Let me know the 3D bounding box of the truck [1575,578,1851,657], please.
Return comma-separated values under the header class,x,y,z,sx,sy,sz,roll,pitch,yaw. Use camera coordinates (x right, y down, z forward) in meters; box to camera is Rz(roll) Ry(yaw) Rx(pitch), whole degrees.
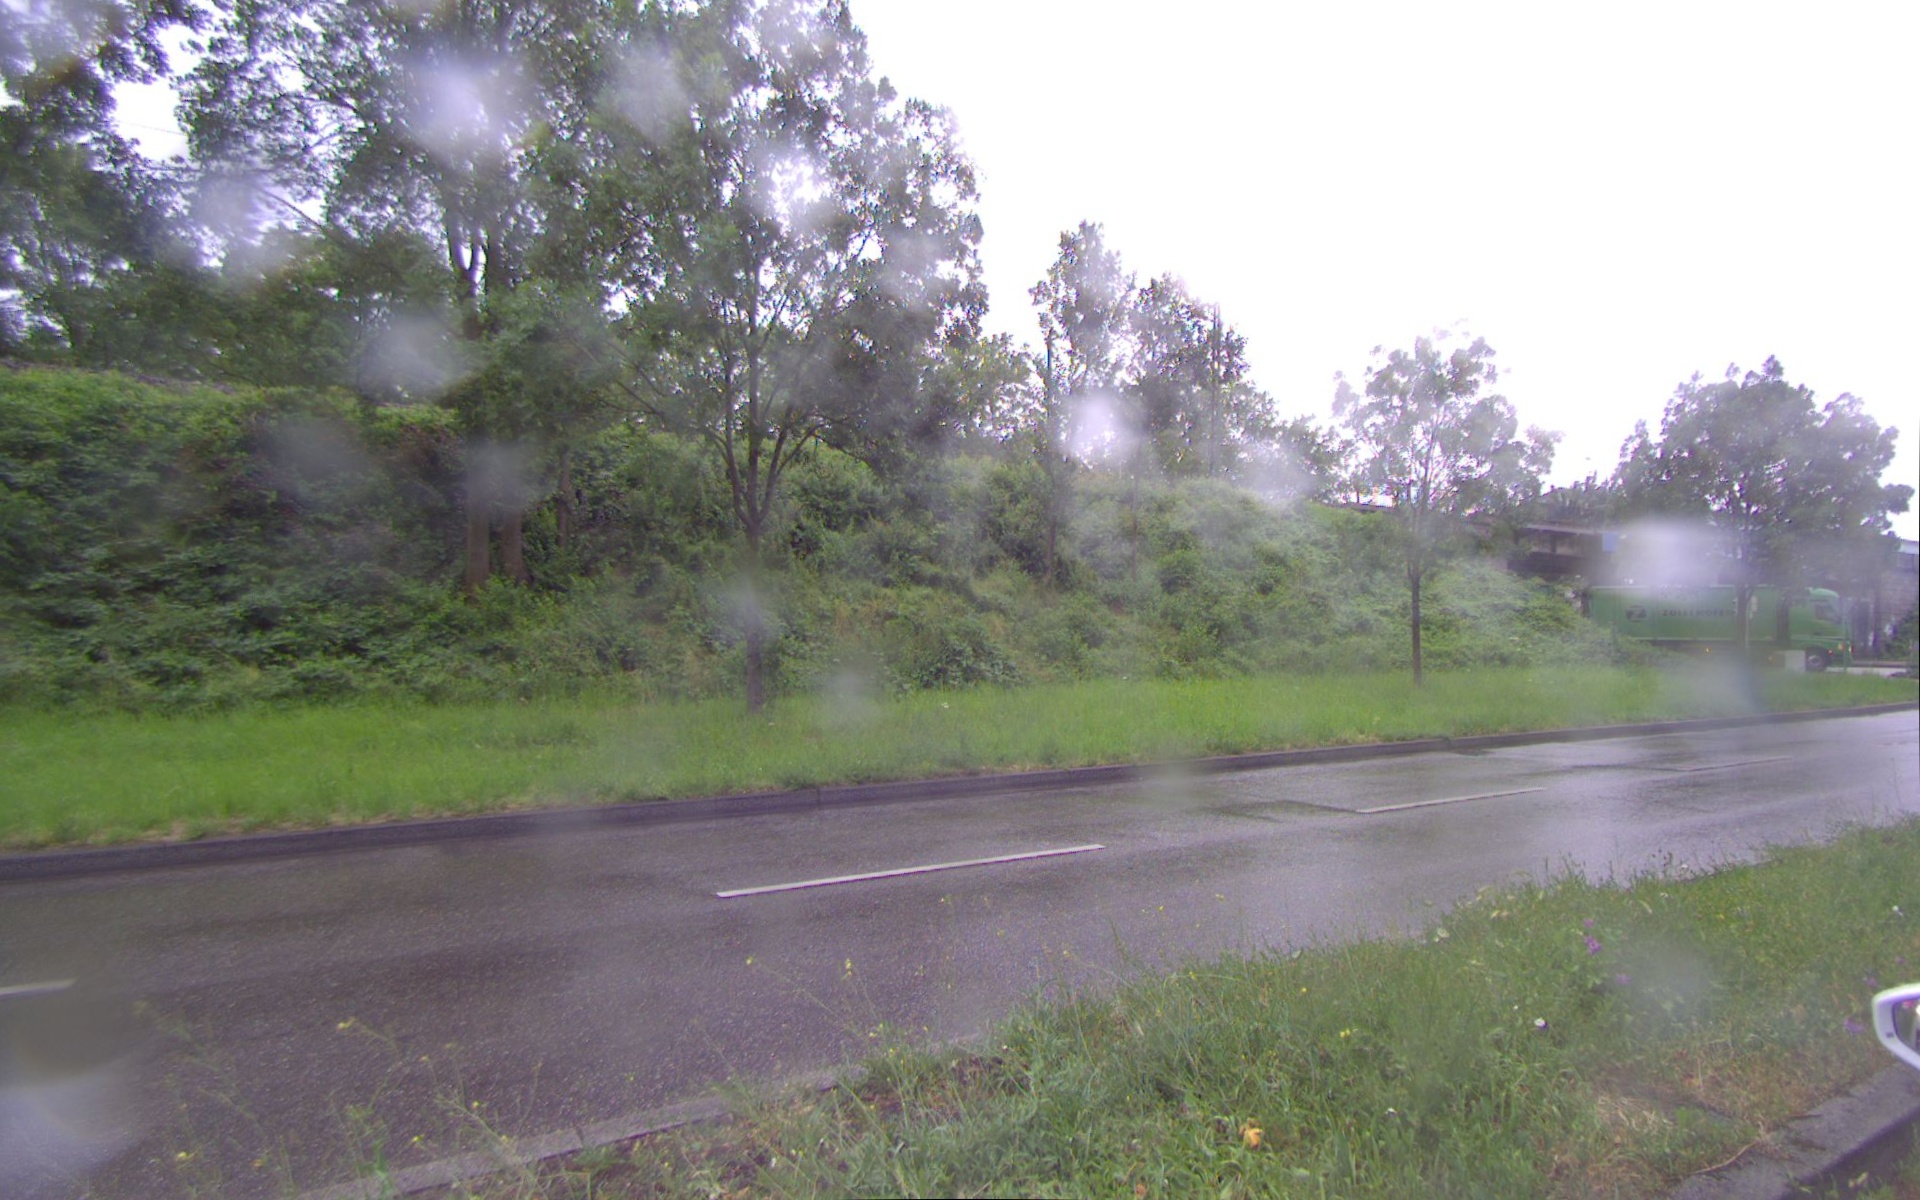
class,x,y,z,sx,sy,sz,roll,pitch,yaw
truck,34.296,0.742,46.339,9.872,3.416,2.346,0,-1,25
